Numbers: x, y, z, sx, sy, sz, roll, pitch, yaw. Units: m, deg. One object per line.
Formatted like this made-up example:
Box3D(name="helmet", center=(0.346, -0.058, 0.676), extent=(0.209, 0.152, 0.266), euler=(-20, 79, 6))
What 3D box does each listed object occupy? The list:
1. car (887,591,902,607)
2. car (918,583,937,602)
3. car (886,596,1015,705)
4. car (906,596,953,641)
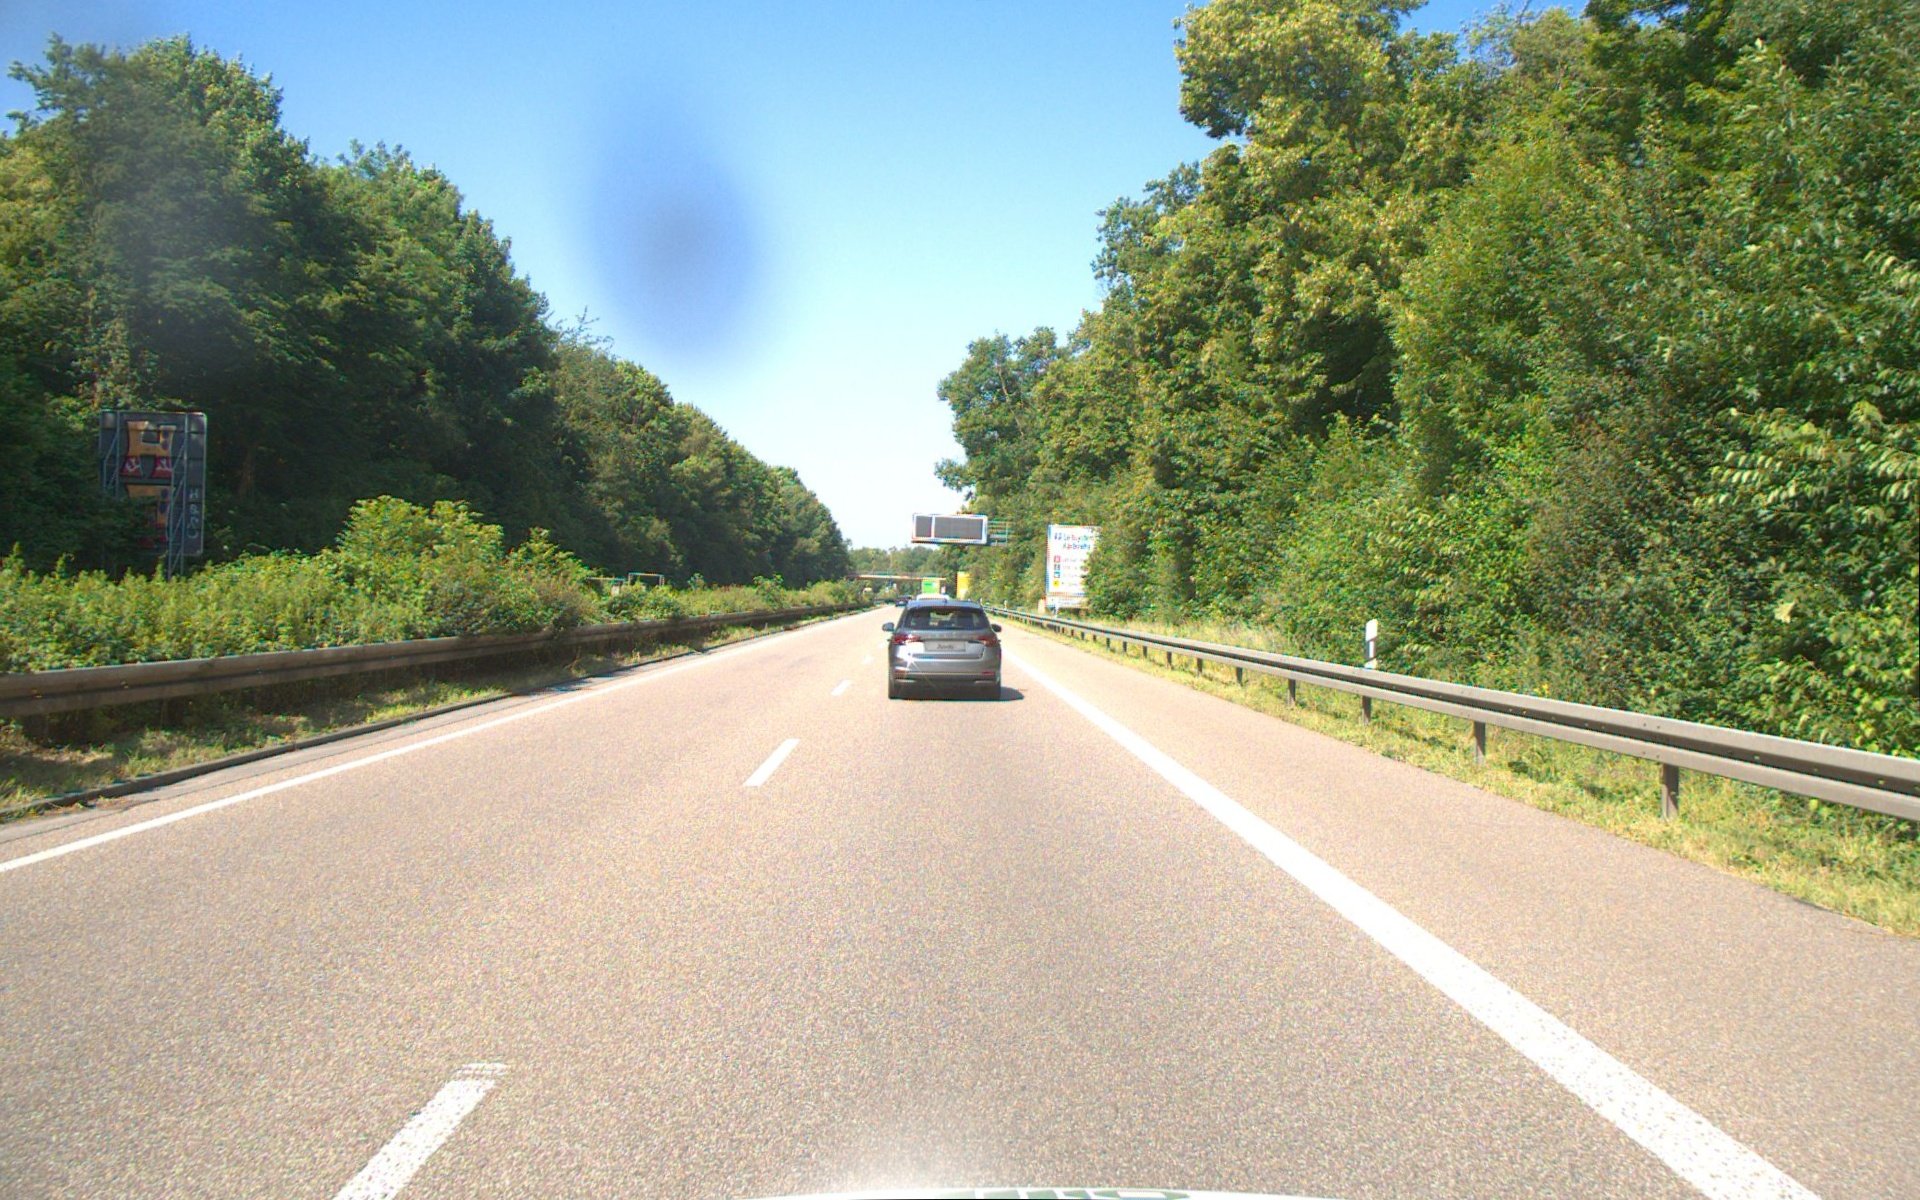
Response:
Box3D(name="car", center=(-8.730, -0.155, 221.134), extent=(1.953, 2.049, 3.999), euler=(1, 0, -1))
Box3D(name="car", center=(-4.909, -1.138, 250.067), extent=(2.693, 2.701, 3.999), euler=(1, 0, -1))
Box3D(name="car", center=(-0.113, 0.711, 25.200), extent=(1.802, 1.497, 3.623), euler=(1, 0, 1))
Box3D(name="car", center=(-1.012, 0.619, 56.954), extent=(1.491, 1.472, 3.340), euler=(1, 0, 1))
